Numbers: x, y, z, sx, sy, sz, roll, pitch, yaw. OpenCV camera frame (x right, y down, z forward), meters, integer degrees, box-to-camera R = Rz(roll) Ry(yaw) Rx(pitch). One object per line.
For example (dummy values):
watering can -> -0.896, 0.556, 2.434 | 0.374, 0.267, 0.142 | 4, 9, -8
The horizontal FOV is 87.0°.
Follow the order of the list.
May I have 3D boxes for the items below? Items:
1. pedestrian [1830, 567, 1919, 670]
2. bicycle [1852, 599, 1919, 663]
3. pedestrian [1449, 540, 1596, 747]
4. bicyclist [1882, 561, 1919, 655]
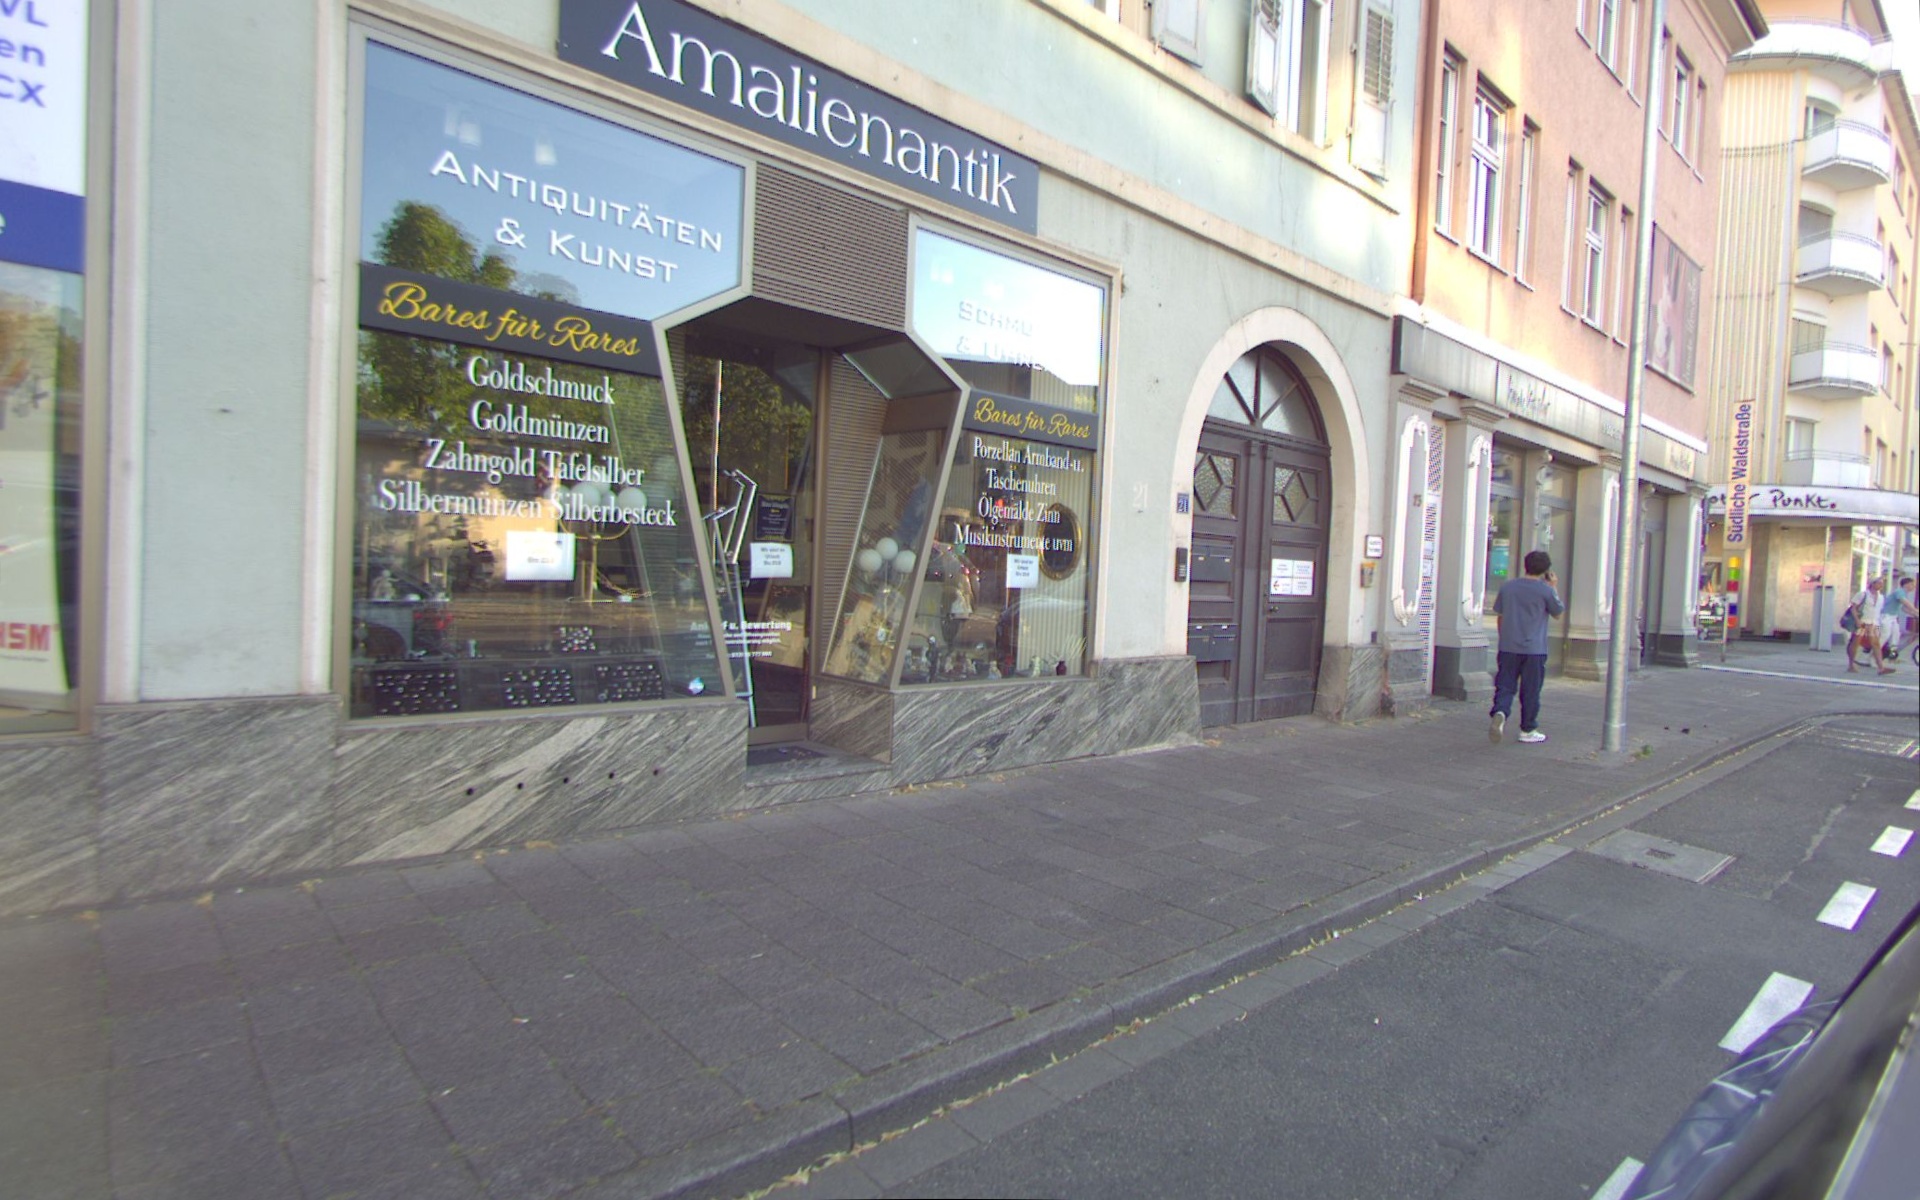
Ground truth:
pedestrian -> 16.931, 0.315, 18.660 | 0.813, 1.796, 1.098 | 3, 2, 10
bicycle -> 19.262, 0.643, 20.321 | 0.778, 1.200, 1.828 | 1, 2, -32
pedestrian -> 4.878, 0.336, 8.779 | 0.857, 1.662, 0.824 | 1, 2, -43
bicyclist -> 19.257, 0.170, 20.337 | 0.815, 1.848, 0.837 | 1, 2, -33
